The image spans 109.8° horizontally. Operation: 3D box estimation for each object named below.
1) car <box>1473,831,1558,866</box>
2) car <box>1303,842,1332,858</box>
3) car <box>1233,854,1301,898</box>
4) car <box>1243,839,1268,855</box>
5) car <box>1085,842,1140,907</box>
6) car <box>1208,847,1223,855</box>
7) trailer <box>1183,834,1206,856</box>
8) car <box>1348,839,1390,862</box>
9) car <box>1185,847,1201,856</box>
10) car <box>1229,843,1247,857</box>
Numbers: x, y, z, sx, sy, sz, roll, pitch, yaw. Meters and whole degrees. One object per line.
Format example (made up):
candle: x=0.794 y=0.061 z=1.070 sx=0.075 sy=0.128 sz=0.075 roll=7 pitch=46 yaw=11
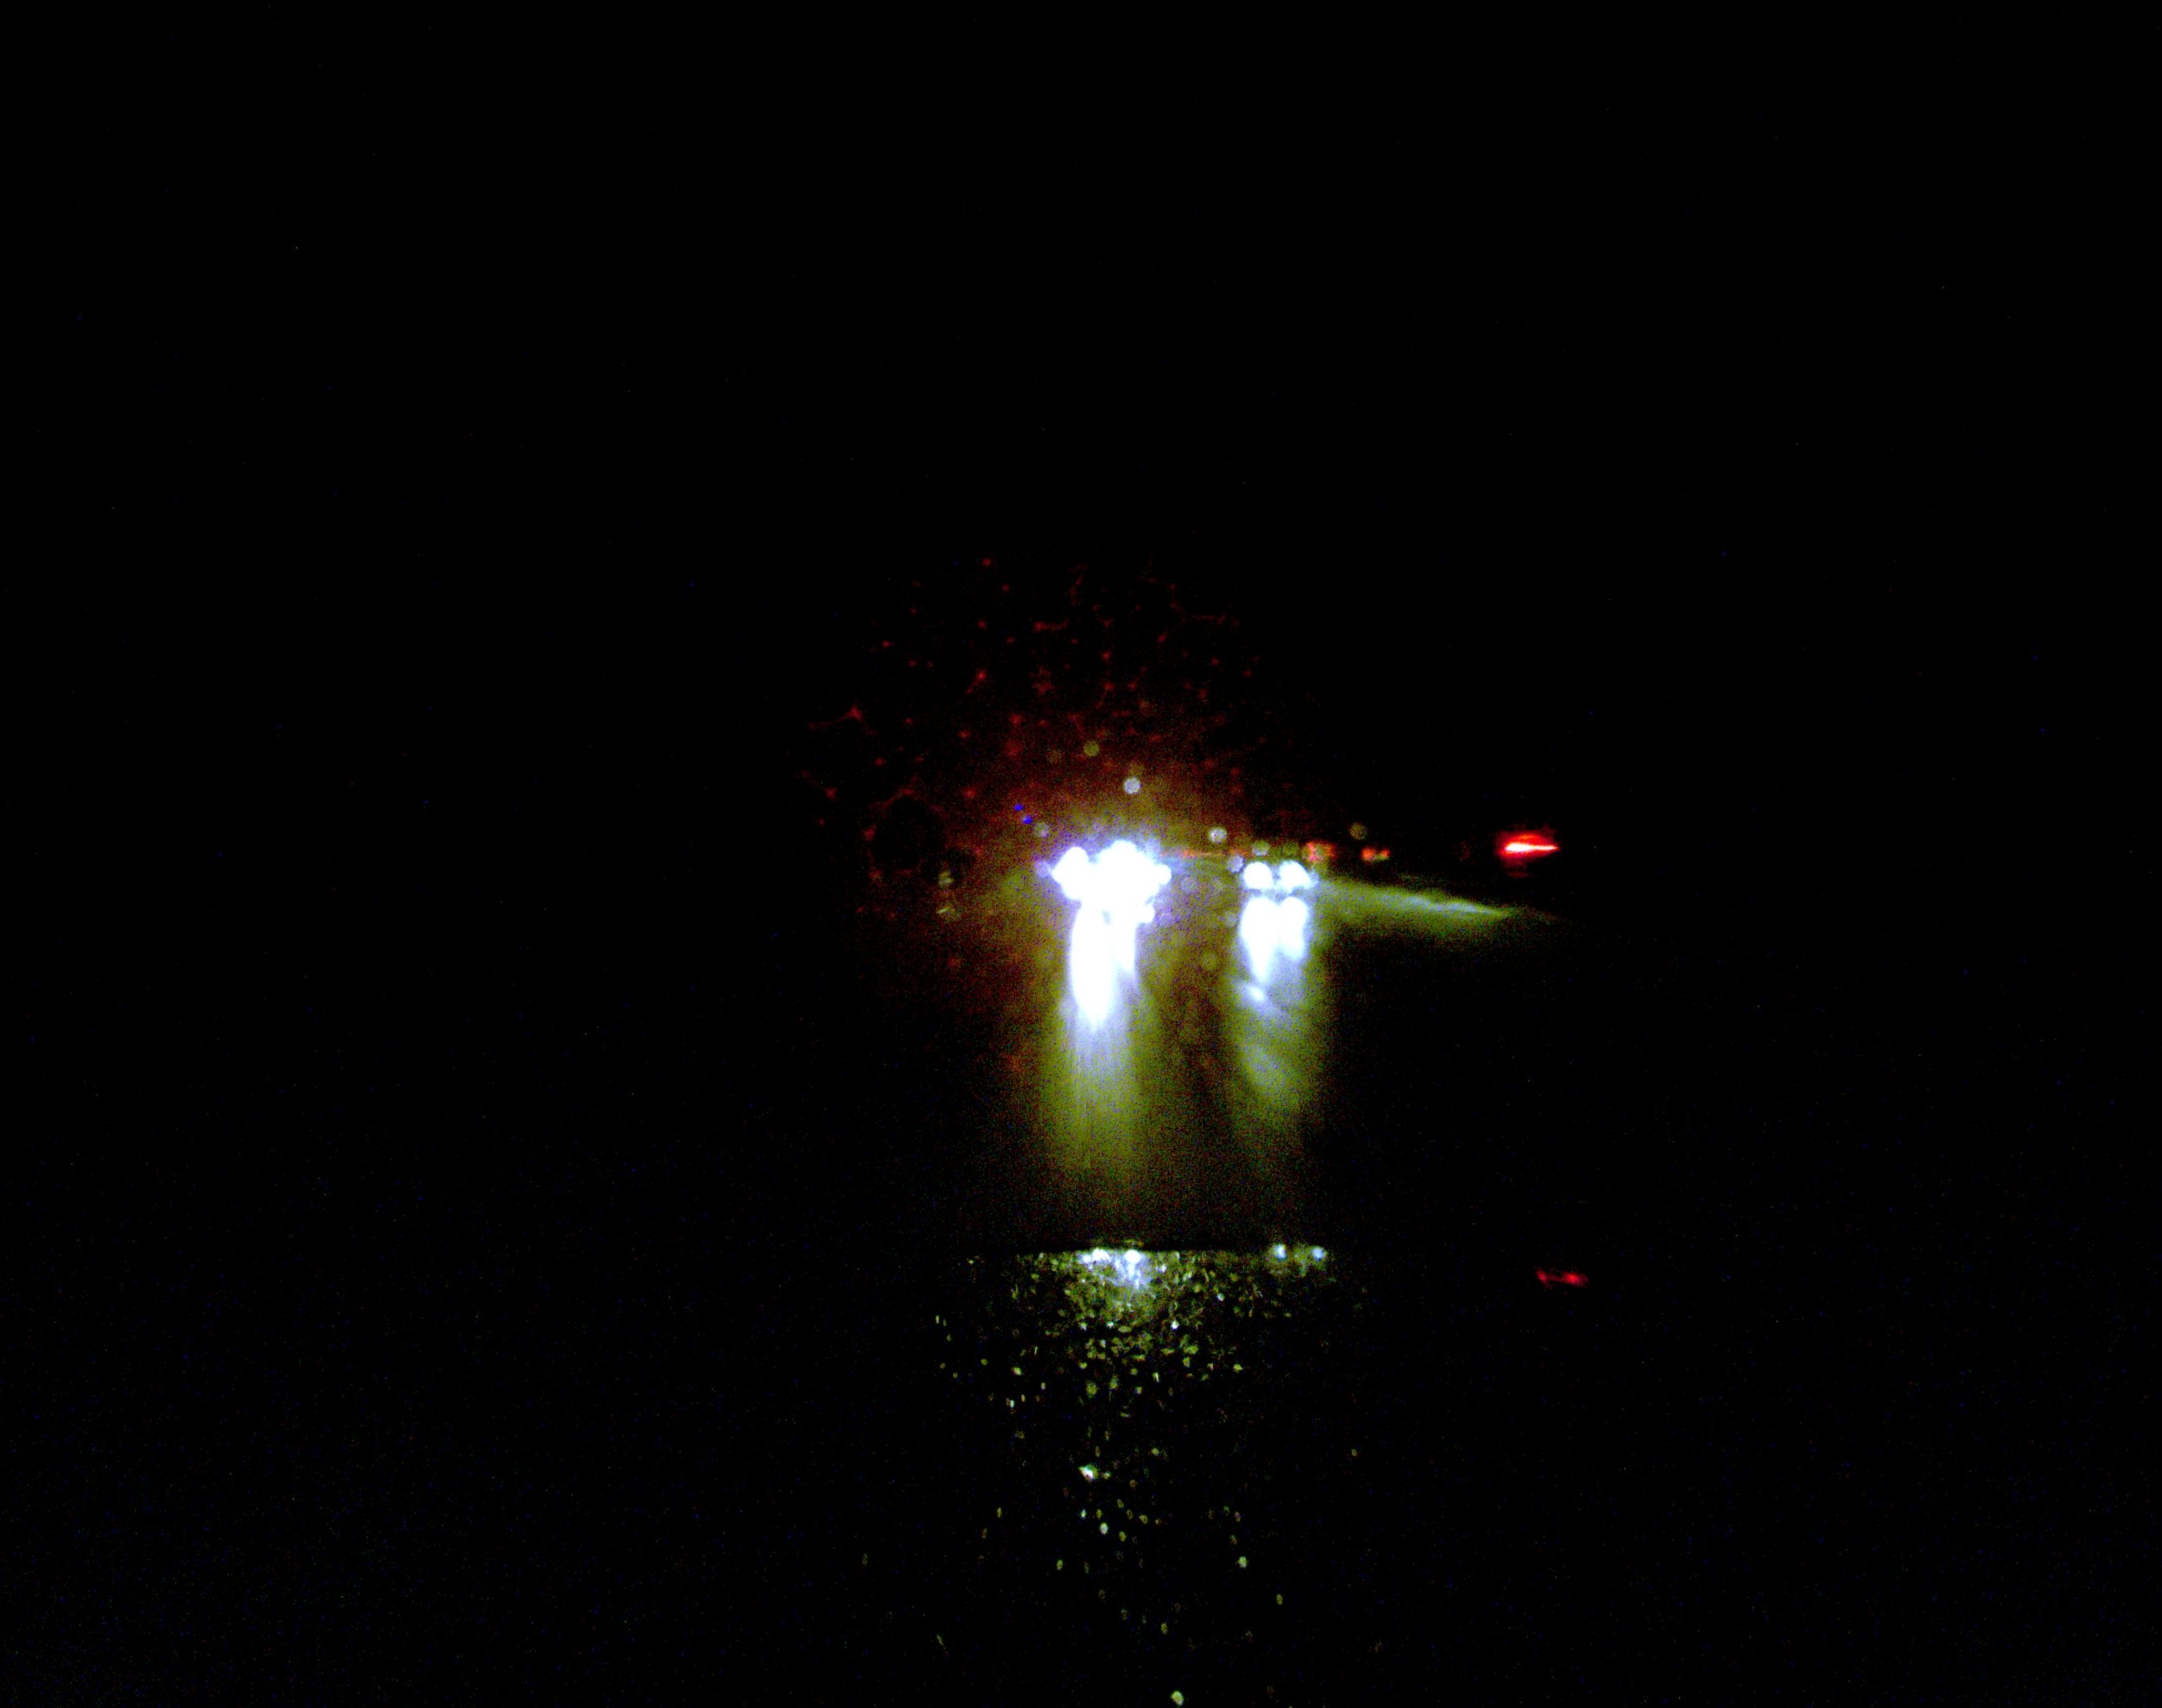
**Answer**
car: x=22.252 y=-0.301 z=39.098 sx=1.846 sy=1.638 sz=4.332 roll=-2 pitch=1 yaw=0
car: x=23.507 y=-0.417 z=75.724 sx=1.768 sy=1.486 sz=3.803 roll=-2 pitch=1 yaw=2
car: x=7.091 y=0.799 z=29.353 sx=1.654 sy=1.566 sz=3.849 roll=-1 pitch=0 yaw=0
car: x=21.389 y=-0.873 z=93.357 sx=1.991 sy=1.899 sz=5.136 roll=-2 pitch=1 yaw=2
car: x=1.095 y=0.668 z=27.092 sx=1.754 sy=2.092 sz=4.463 roll=-1 pitch=0 yaw=1
car: x=23.532 y=-0.583 z=132.982 sx=1.843 sy=1.386 sz=4.167 roll=-1 pitch=0 yaw=0
trailer: x=22.504 y=-1.655 z=151.518 sx=3.363 sy=4.149 sz=11.722 roll=-1 pitch=0 yaw=2
car: x=21.989 y=-0.254 z=58.192 sx=1.812 sy=1.602 sz=4.200 roll=-2 pitch=-1 yaw=3
car: x=18.652 y=-0.429 z=126.767 sx=1.886 sy=1.500 sz=4.306 roll=-2 pitch=1 yaw=0
car: x=23.940 y=-0.649 z=115.900 sx=1.895 sy=1.899 sz=4.844 roll=-2 pitch=1 yaw=2
